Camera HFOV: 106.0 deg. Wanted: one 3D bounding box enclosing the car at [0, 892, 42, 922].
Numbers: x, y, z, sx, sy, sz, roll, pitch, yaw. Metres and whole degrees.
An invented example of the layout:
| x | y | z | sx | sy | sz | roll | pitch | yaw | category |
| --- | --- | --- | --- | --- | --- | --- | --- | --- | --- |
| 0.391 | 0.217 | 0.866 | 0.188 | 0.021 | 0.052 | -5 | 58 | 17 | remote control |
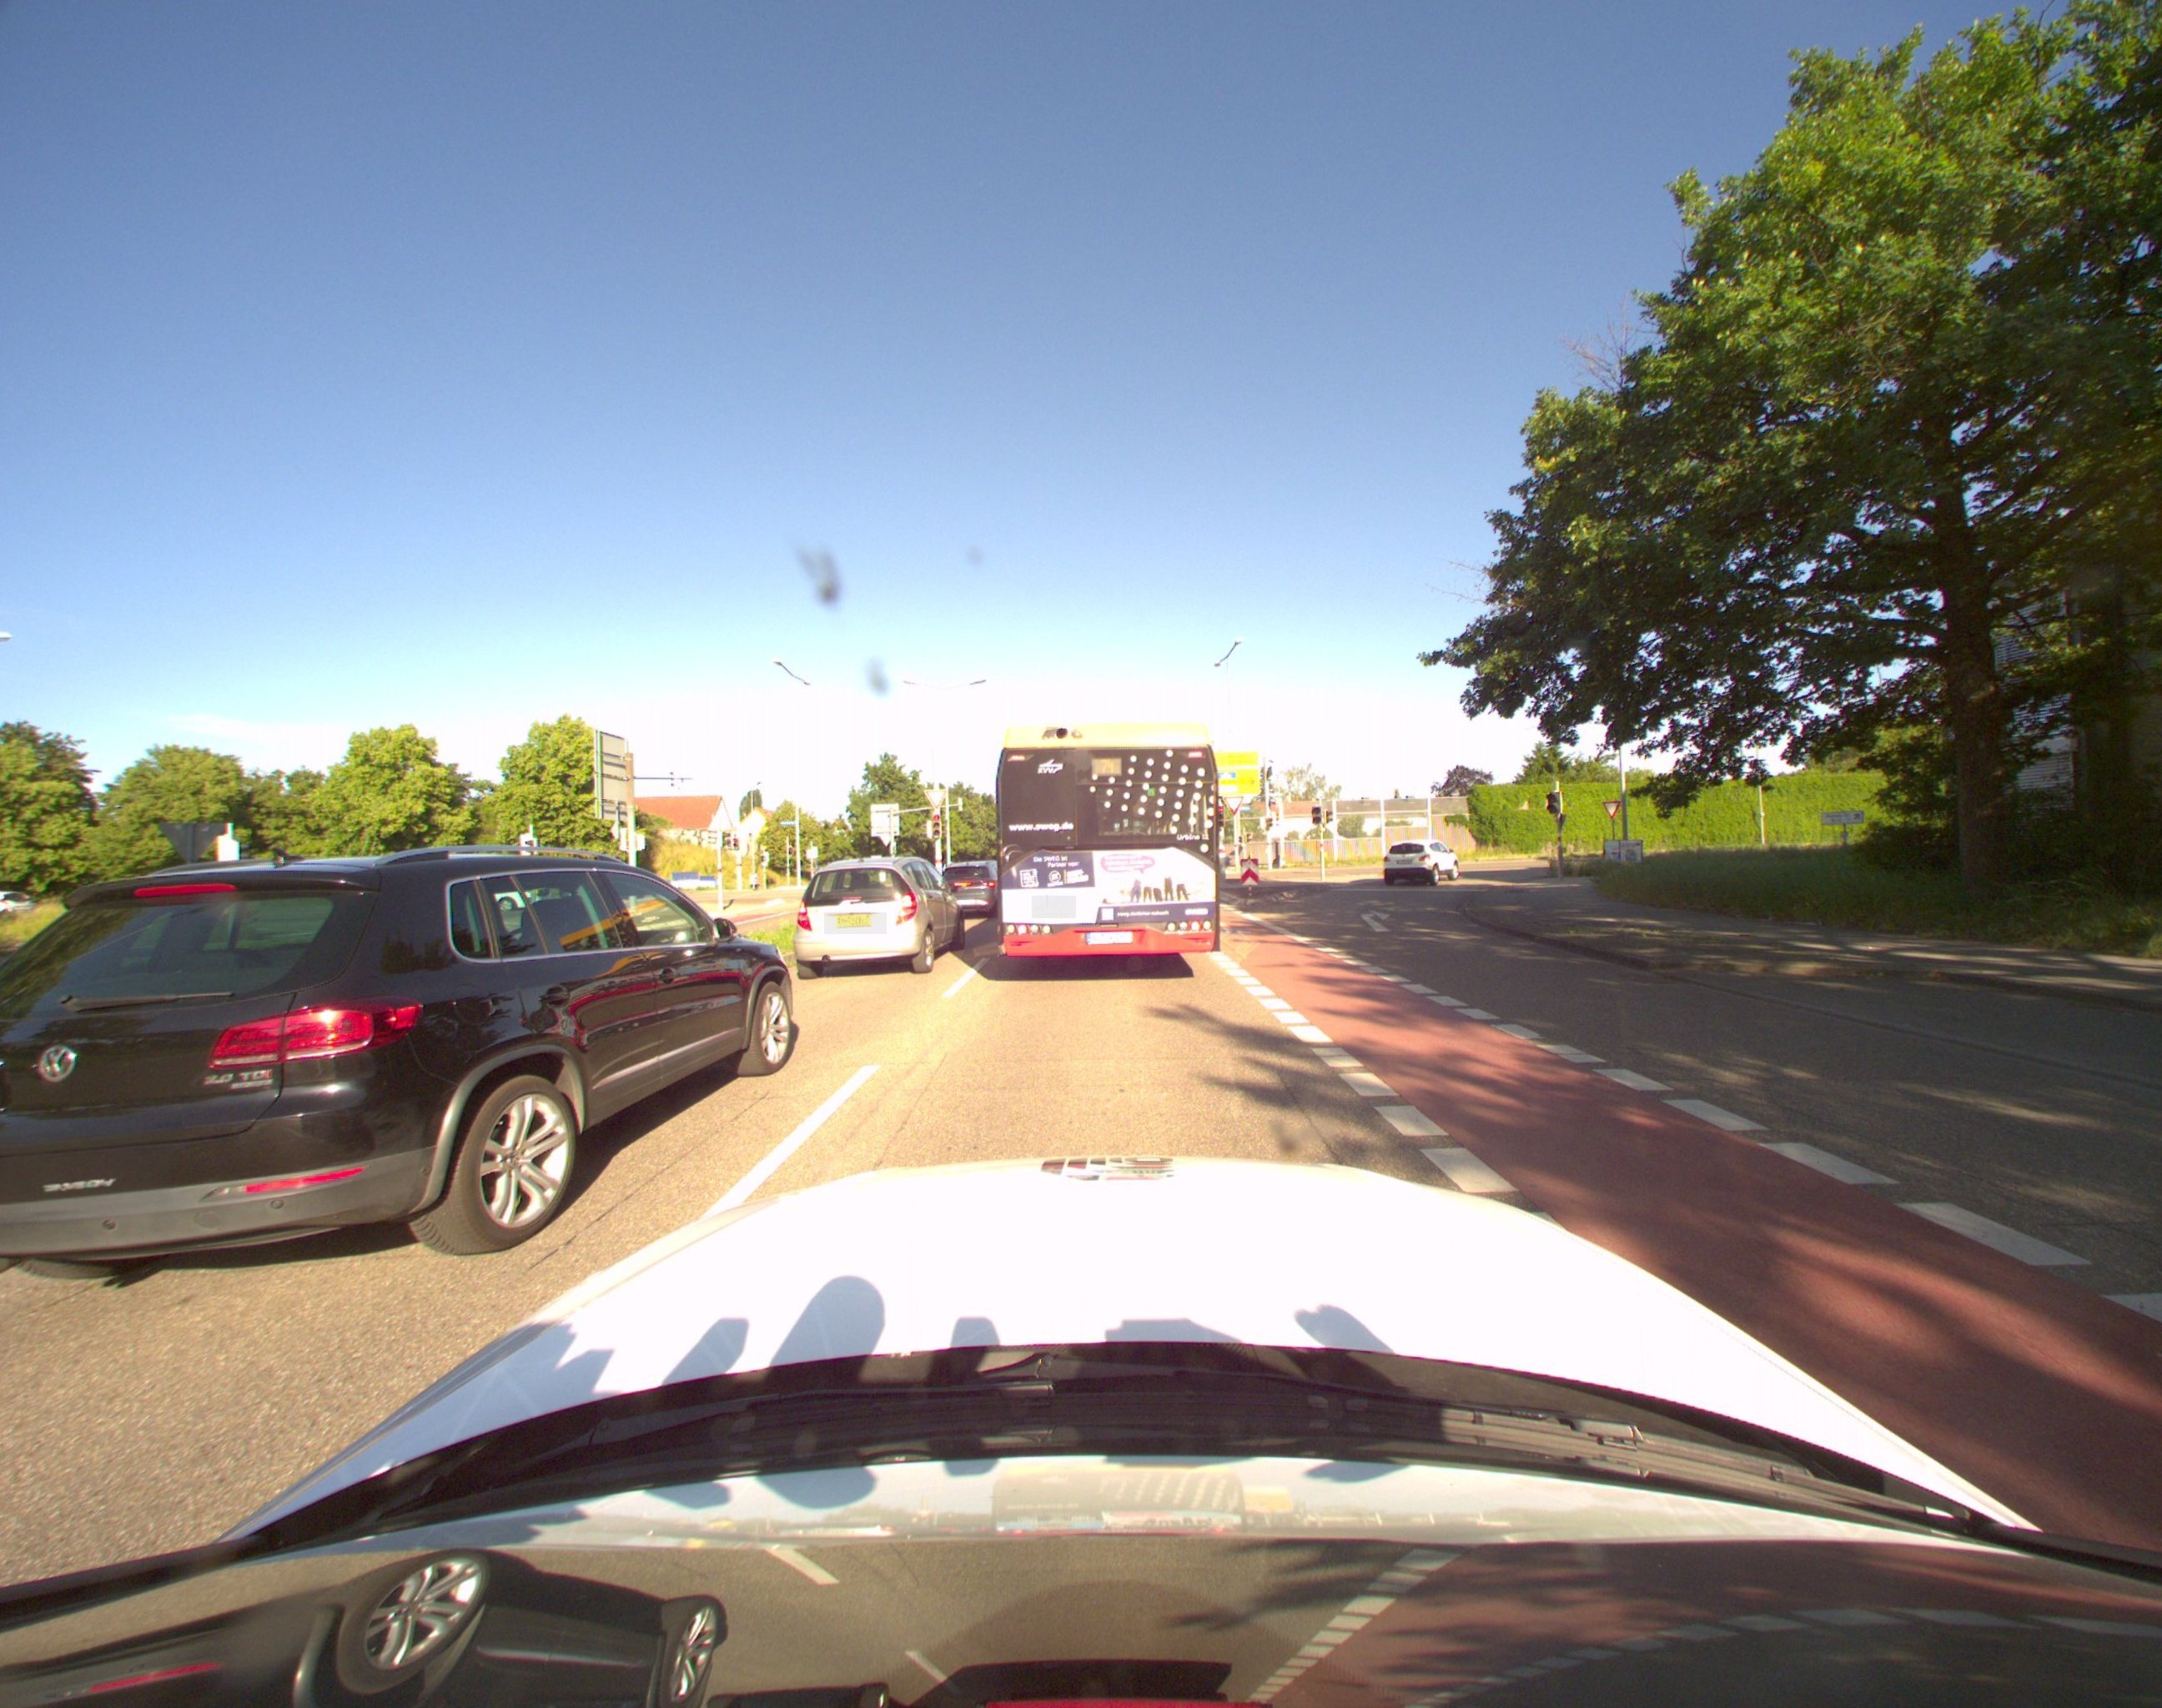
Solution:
| x | y | z | sx | sy | sz | roll | pitch | yaw | category |
| --- | --- | --- | --- | --- | --- | --- | --- | --- | --- |
| -62.849 | 3.069 | 46.820 | 3.800 | 1.612 | 1.704 | 0 | -1 | -5 | car |

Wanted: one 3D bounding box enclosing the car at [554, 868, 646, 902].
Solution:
| x | y | z | sx | sy | sz | roll | pitch | yaw | category |
| --- | --- | --- | --- | --- | --- | --- | --- | --- | --- |
| -24.569 | 1.549 | 41.671 | 3.577 | 1.560 | 1.747 | -2 | 0 | -5 | car |

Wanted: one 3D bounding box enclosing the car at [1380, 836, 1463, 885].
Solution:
| x | y | z | sx | sy | sz | roll | pitch | yaw | category |
| --- | --- | --- | --- | --- | --- | --- | --- | --- | --- |
| 12.585 | 0.206 | 29.985 | 1.701 | 1.607 | 4.094 | -2 | 1 | 38 | car |

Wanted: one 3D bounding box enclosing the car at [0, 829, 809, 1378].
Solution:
| x | y | z | sx | sy | sz | roll | pitch | yaw | category |
| --- | --- | --- | --- | --- | --- | --- | --- | --- | --- |
| -3.165 | 0.804 | 4.555 | 1.766 | 1.653 | 4.001 | -3 | 0 | 1 | car |

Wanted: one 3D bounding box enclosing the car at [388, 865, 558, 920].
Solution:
| x | y | z | sx | sy | sz | roll | pitch | yaw | category |
| --- | --- | --- | --- | --- | --- | --- | --- | --- | --- |
| -25.627 | 1.600 | 34.498 | 5.375 | 2.118 | 2.178 | -1 | -1 | -4 | car |

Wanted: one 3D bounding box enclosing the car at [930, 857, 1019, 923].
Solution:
| x | y | z | sx | sy | sz | roll | pitch | yaw | category |
| --- | --- | --- | --- | --- | --- | --- | --- | --- | --- |
| -2.684 | 0.862 | 21.315 | 1.686 | 1.458 | 3.751 | -3 | 0 | 1 | car |

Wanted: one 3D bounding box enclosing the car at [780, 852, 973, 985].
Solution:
| x | y | z | sx | sy | sz | roll | pitch | yaw | category |
| --- | --- | --- | --- | --- | --- | --- | --- | --- | --- |
| -2.870 | 0.821 | 12.381 | 1.755 | 1.589 | 4.001 | -3 | 0 | 1 | car |

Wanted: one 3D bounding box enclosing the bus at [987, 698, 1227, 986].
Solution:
| x | y | z | sx | sy | sz | roll | pitch | yaw | category |
| --- | --- | --- | --- | --- | --- | --- | --- | --- | --- |
| 0.528 | -0.161 | 15.019 | 2.632 | 3.167 | 11.867 | -1 | 0 | 2 | bus |
